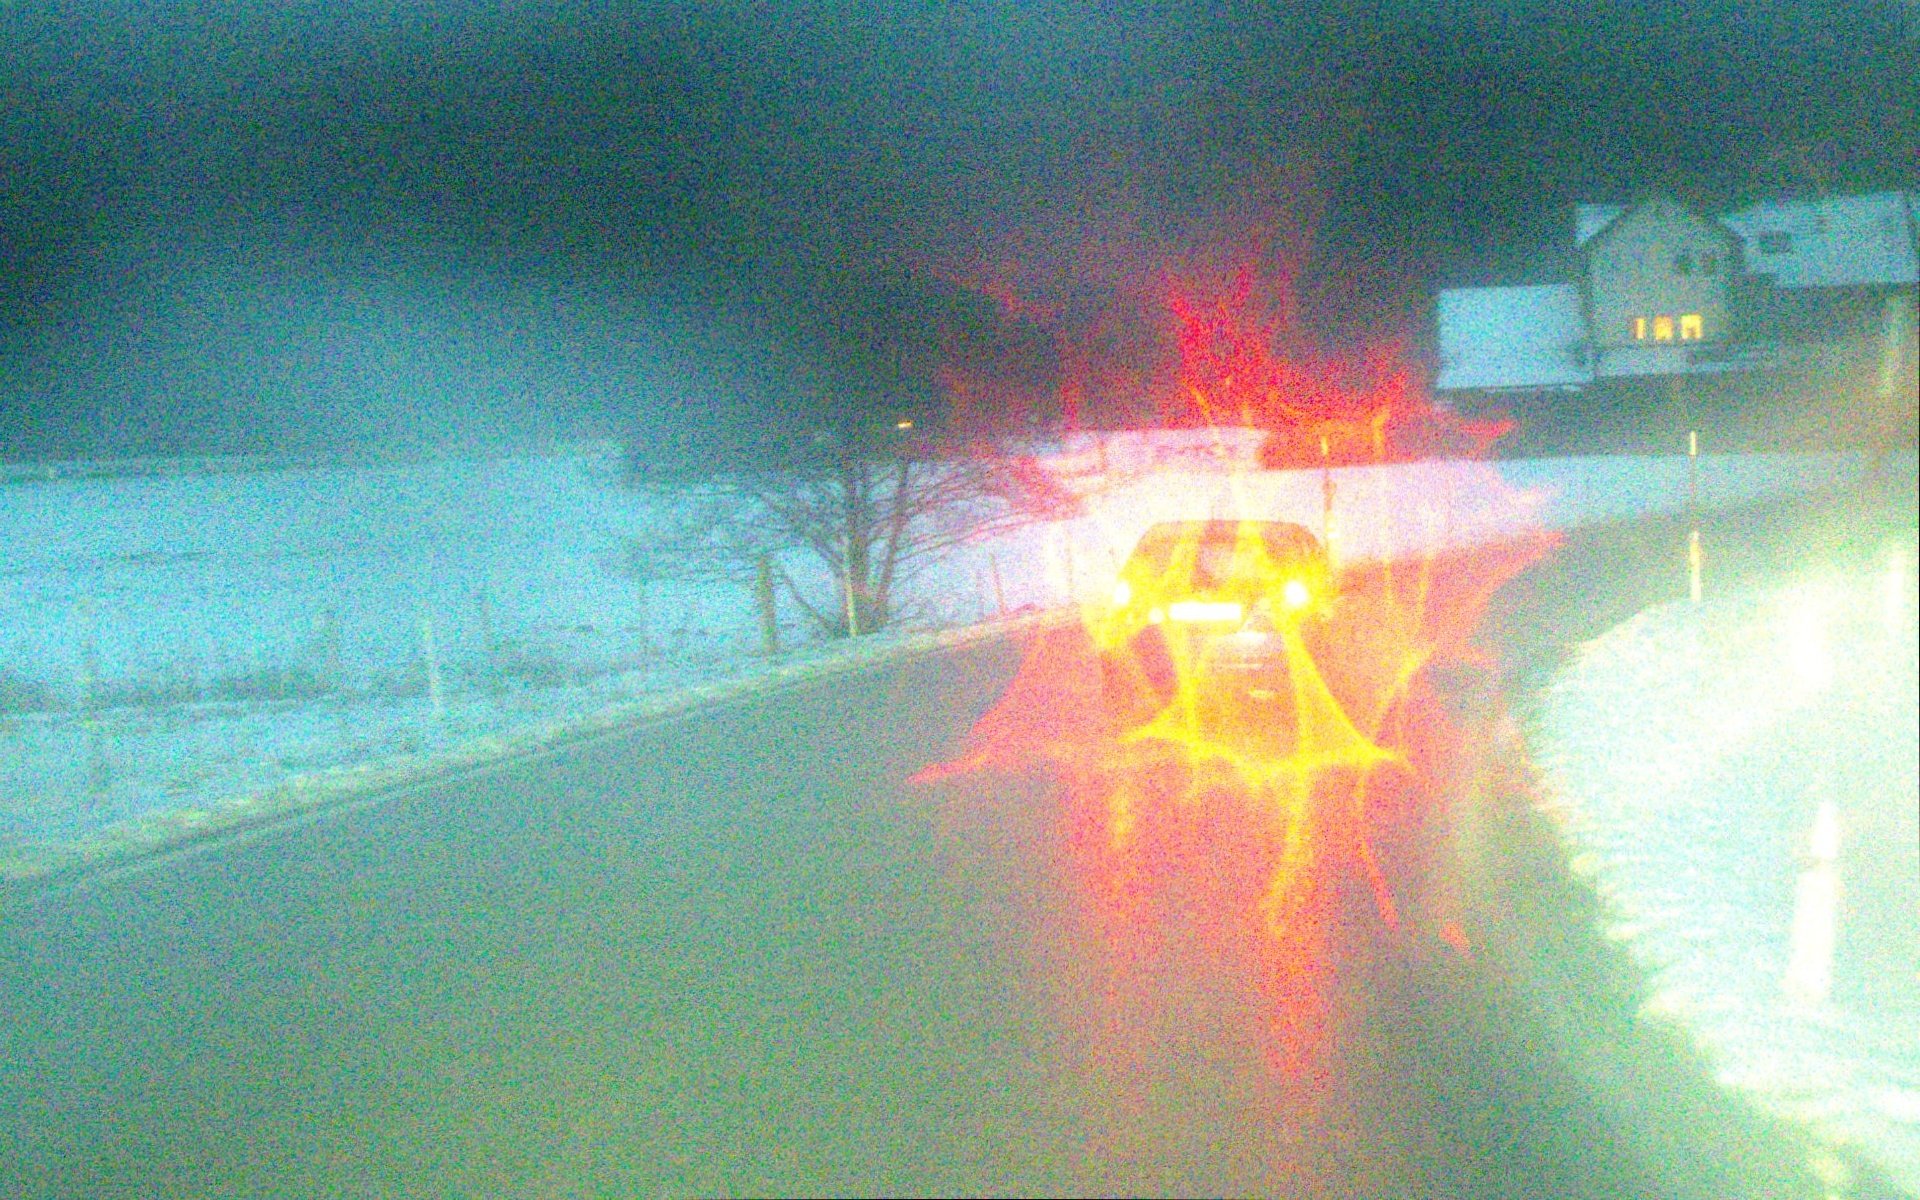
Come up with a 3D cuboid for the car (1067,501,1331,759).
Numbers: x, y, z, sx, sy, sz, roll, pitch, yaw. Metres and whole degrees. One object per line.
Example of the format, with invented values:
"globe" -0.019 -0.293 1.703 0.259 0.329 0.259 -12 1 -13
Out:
"car" 1.882 0.186 26.652 1.822 1.790 3.577 -3 1 5
